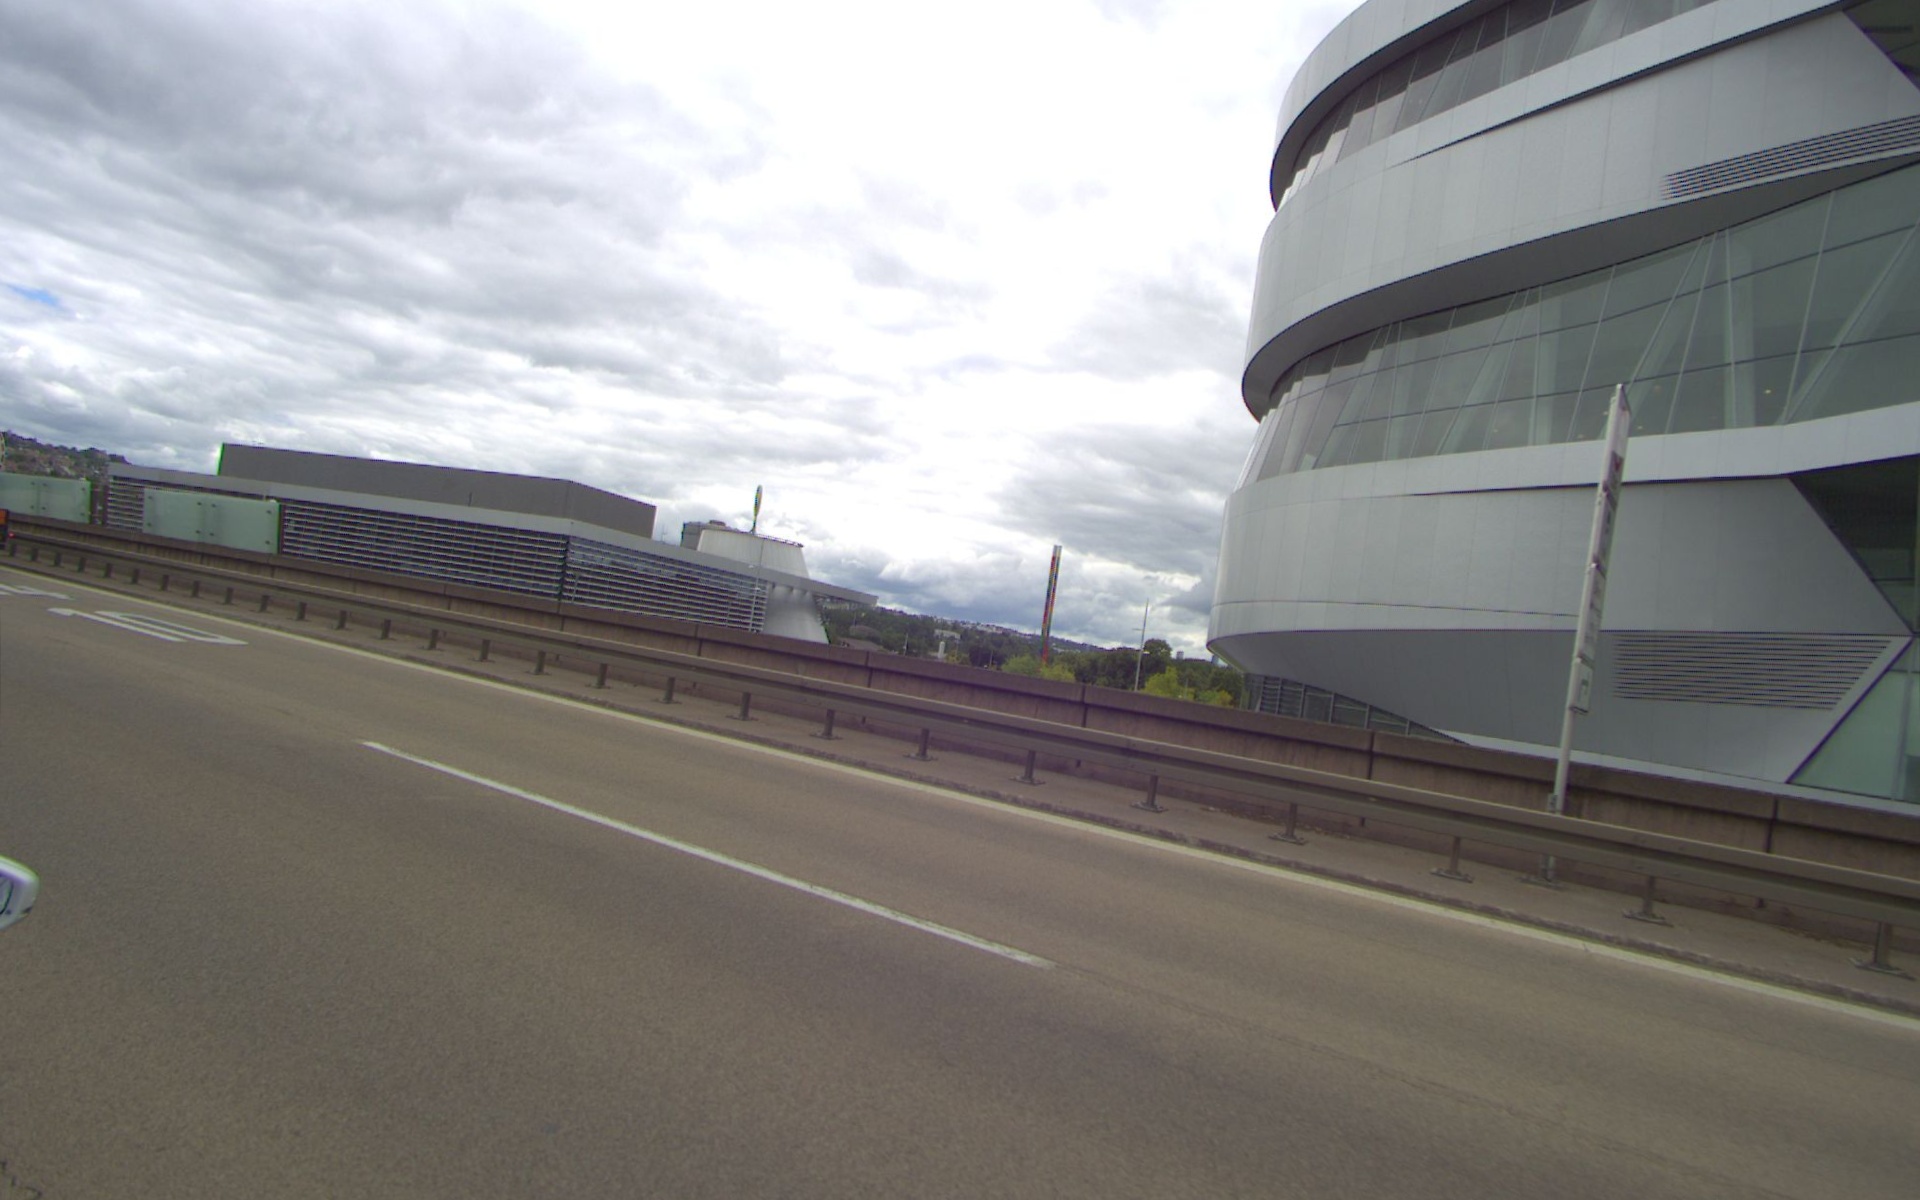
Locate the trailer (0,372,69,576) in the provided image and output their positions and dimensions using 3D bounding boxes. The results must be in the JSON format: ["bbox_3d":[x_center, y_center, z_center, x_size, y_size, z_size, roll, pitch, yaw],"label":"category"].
[{"bbox_3d":[-22.438,-2.914,20.925,8.162,3.834,3.064,6,-1,29],"label":"trailer"}]
